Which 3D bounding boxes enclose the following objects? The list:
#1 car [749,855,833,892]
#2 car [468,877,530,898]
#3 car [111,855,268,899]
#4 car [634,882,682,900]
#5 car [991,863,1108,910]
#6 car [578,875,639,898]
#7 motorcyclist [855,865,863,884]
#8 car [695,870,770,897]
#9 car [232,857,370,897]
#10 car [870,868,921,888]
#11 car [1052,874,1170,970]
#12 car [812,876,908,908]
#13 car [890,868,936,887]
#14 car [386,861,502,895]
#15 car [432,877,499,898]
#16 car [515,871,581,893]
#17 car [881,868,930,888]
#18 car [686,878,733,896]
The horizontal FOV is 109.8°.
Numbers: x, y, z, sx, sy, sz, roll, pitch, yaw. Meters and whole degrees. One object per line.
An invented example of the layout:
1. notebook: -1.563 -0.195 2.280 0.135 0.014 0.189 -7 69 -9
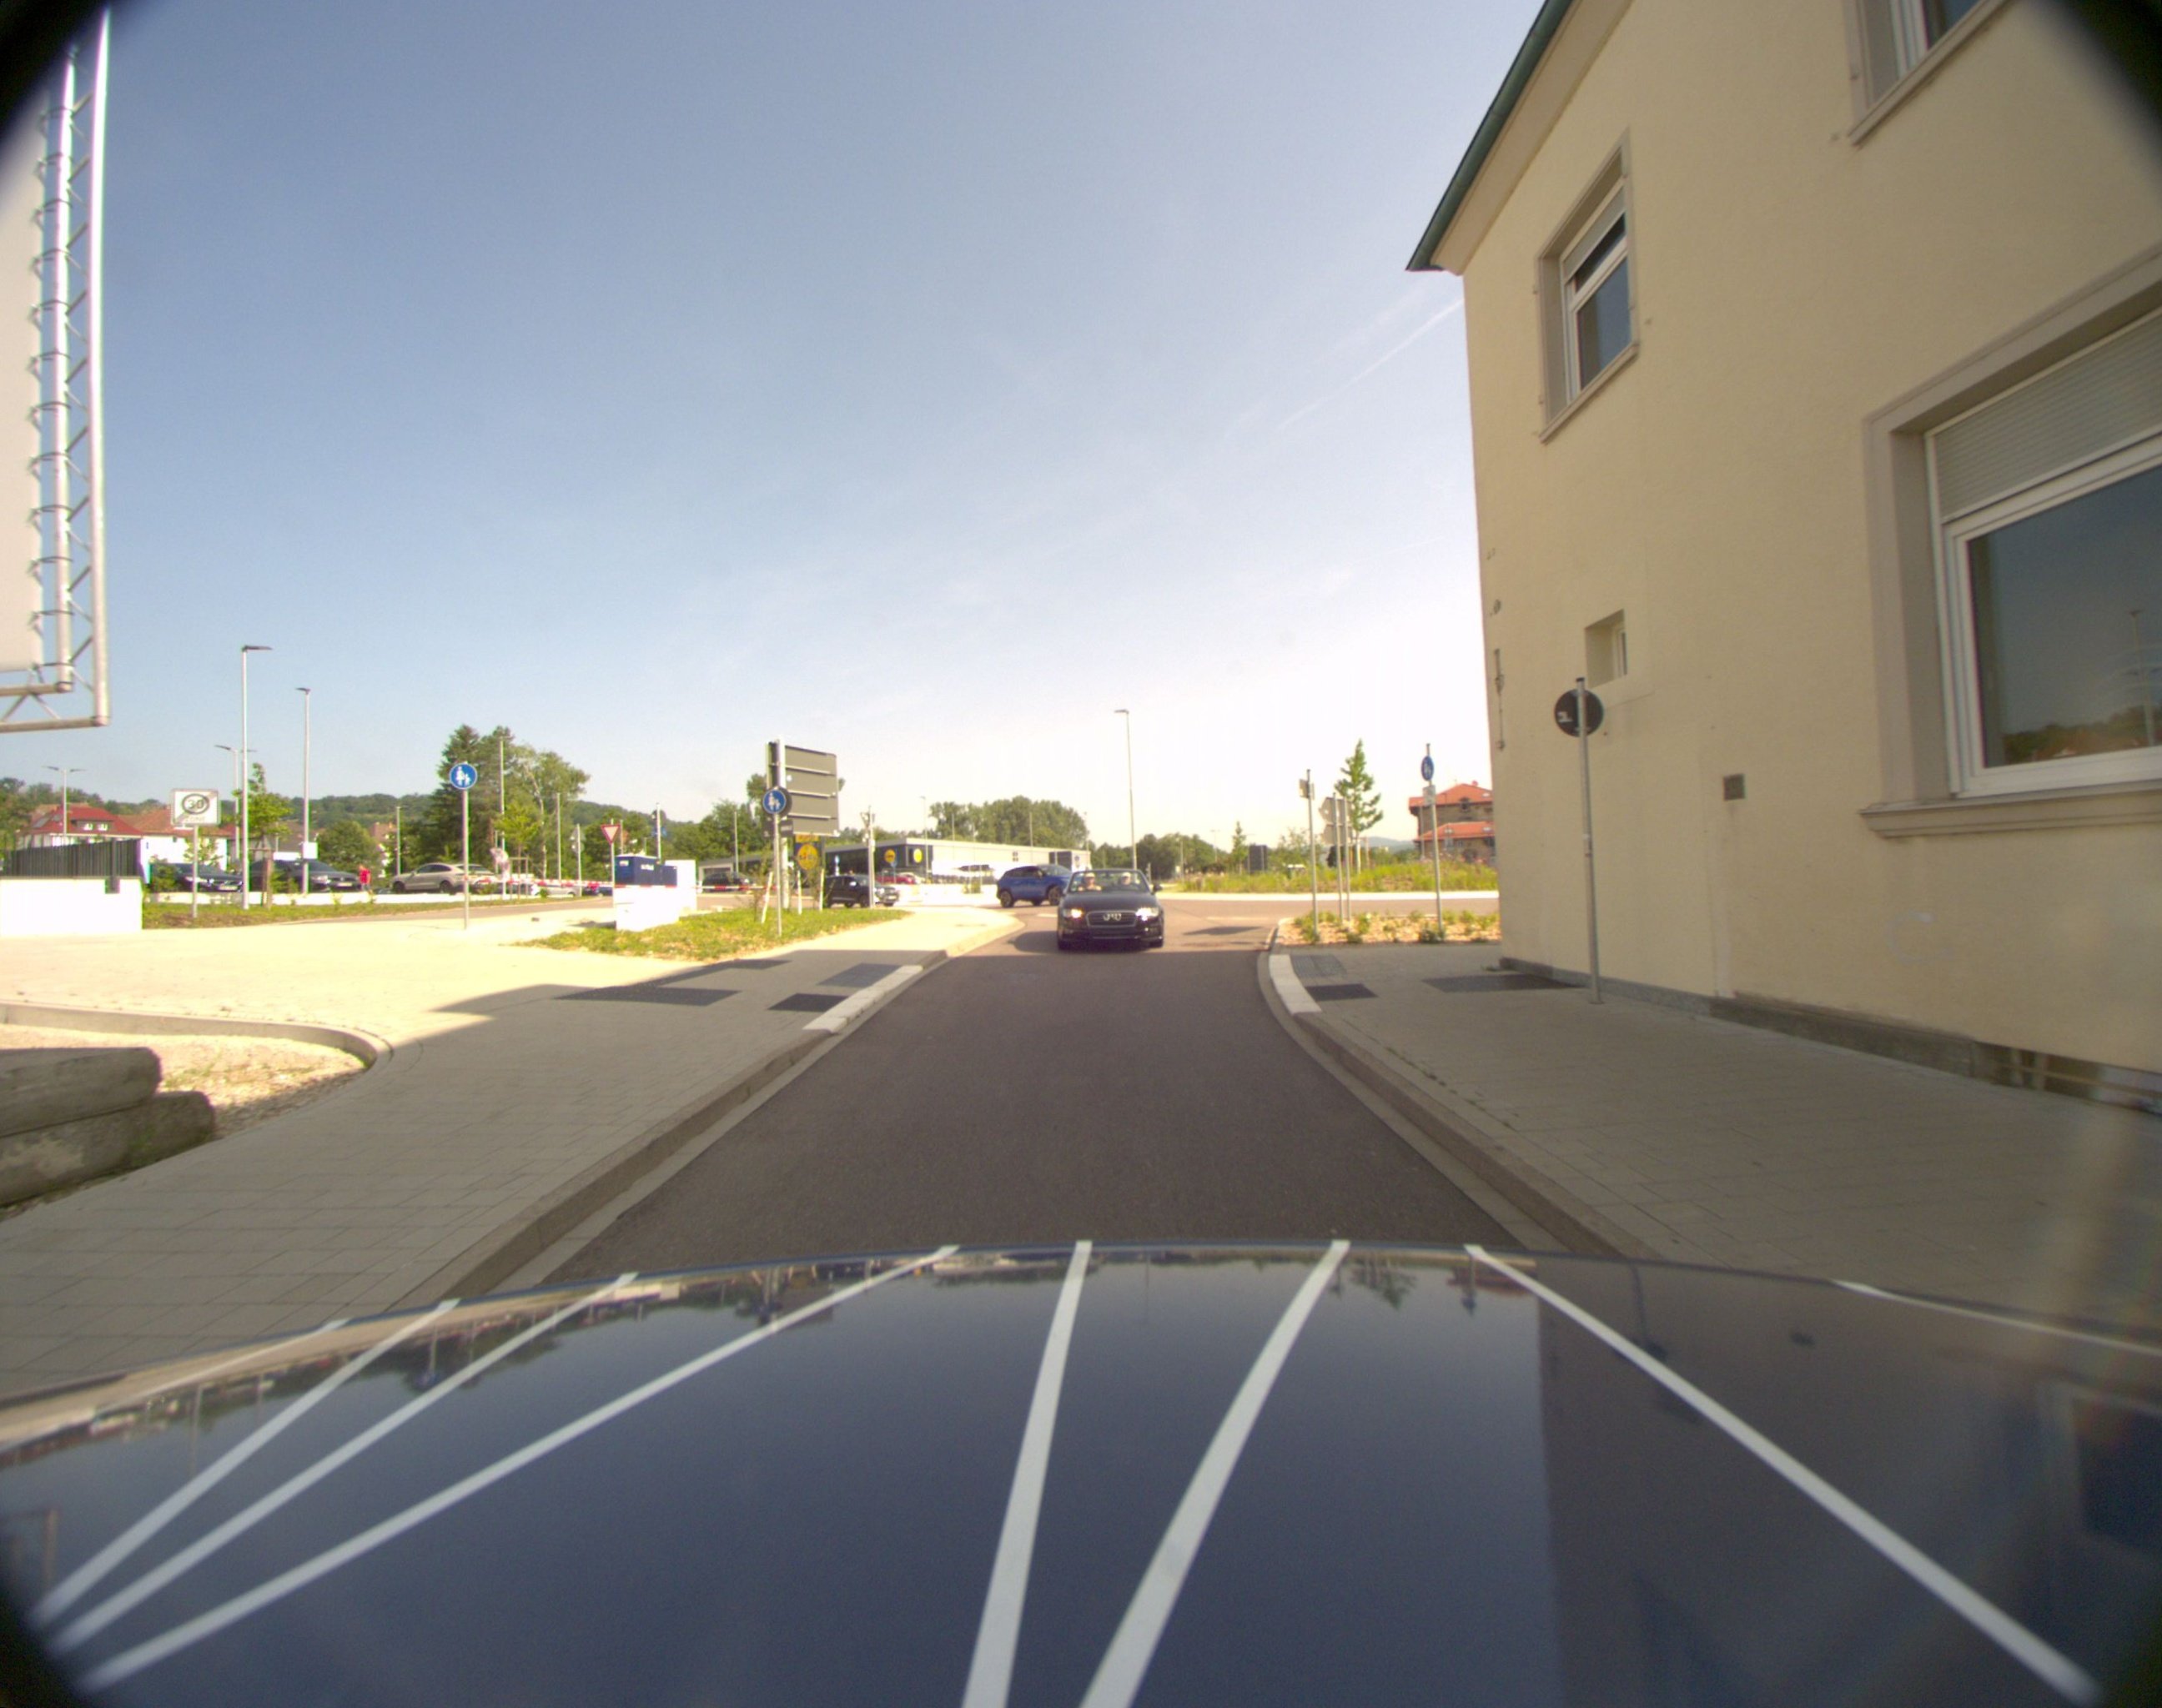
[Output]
1. car: -22.485 1.561 58.841 6.080 2.368 2.064 -5 -3 19
2. car: -41.323 2.374 54.039 1.523 1.365 3.369 -3 -3 8
3. car: -33.362 0.880 28.470 4.452 1.545 1.861 0 -4 13
4. car: -39.775 3.486 71.544 1.760 1.564 3.793 -5 -3 16
5. car: -1.268 1.203 29.229 4.341 1.653 1.891 -1 0 41
6. car: -36.640 2.509 59.030 1.760 1.564 3.793 -5 -3 16
7. motorcyclist: -19.189 1.785 65.563 0.515 1.533 0.581 -3 -3 -22
8. car: -24.524 2.056 53.504 4.850 1.520 1.926 -5 -3 21
9. car: -32.315 0.972 31.503 4.452 1.545 1.861 0 -4 13
10. car: -16.622 2.160 68.105 4.019 1.564 1.780 -4 -3 2
11. car: 0.430 1.060 13.362 1.721 1.314 4.224 -1 0 -1
12. car: -10.450 1.796 35.974 4.220 1.384 1.647 -3 -2 23
13. car: -16.248 2.292 73.477 3.997 1.564 1.705 -4 -3 -1
14. car: -31.119 1.169 37.151 4.812 1.545 1.861 0 -4 15
15. car: -46.151 2.496 57.054 1.523 1.436 3.637 -5 -3 17
16. car: -38.104 1.997 54.401 1.523 1.436 3.637 -5 -3 17
17. car: -16.290 2.265 70.579 4.019 1.564 1.780 -4 -3 2
18. car: -34.342 3.018 70.341 1.663 1.564 3.793 -5 -3 16
